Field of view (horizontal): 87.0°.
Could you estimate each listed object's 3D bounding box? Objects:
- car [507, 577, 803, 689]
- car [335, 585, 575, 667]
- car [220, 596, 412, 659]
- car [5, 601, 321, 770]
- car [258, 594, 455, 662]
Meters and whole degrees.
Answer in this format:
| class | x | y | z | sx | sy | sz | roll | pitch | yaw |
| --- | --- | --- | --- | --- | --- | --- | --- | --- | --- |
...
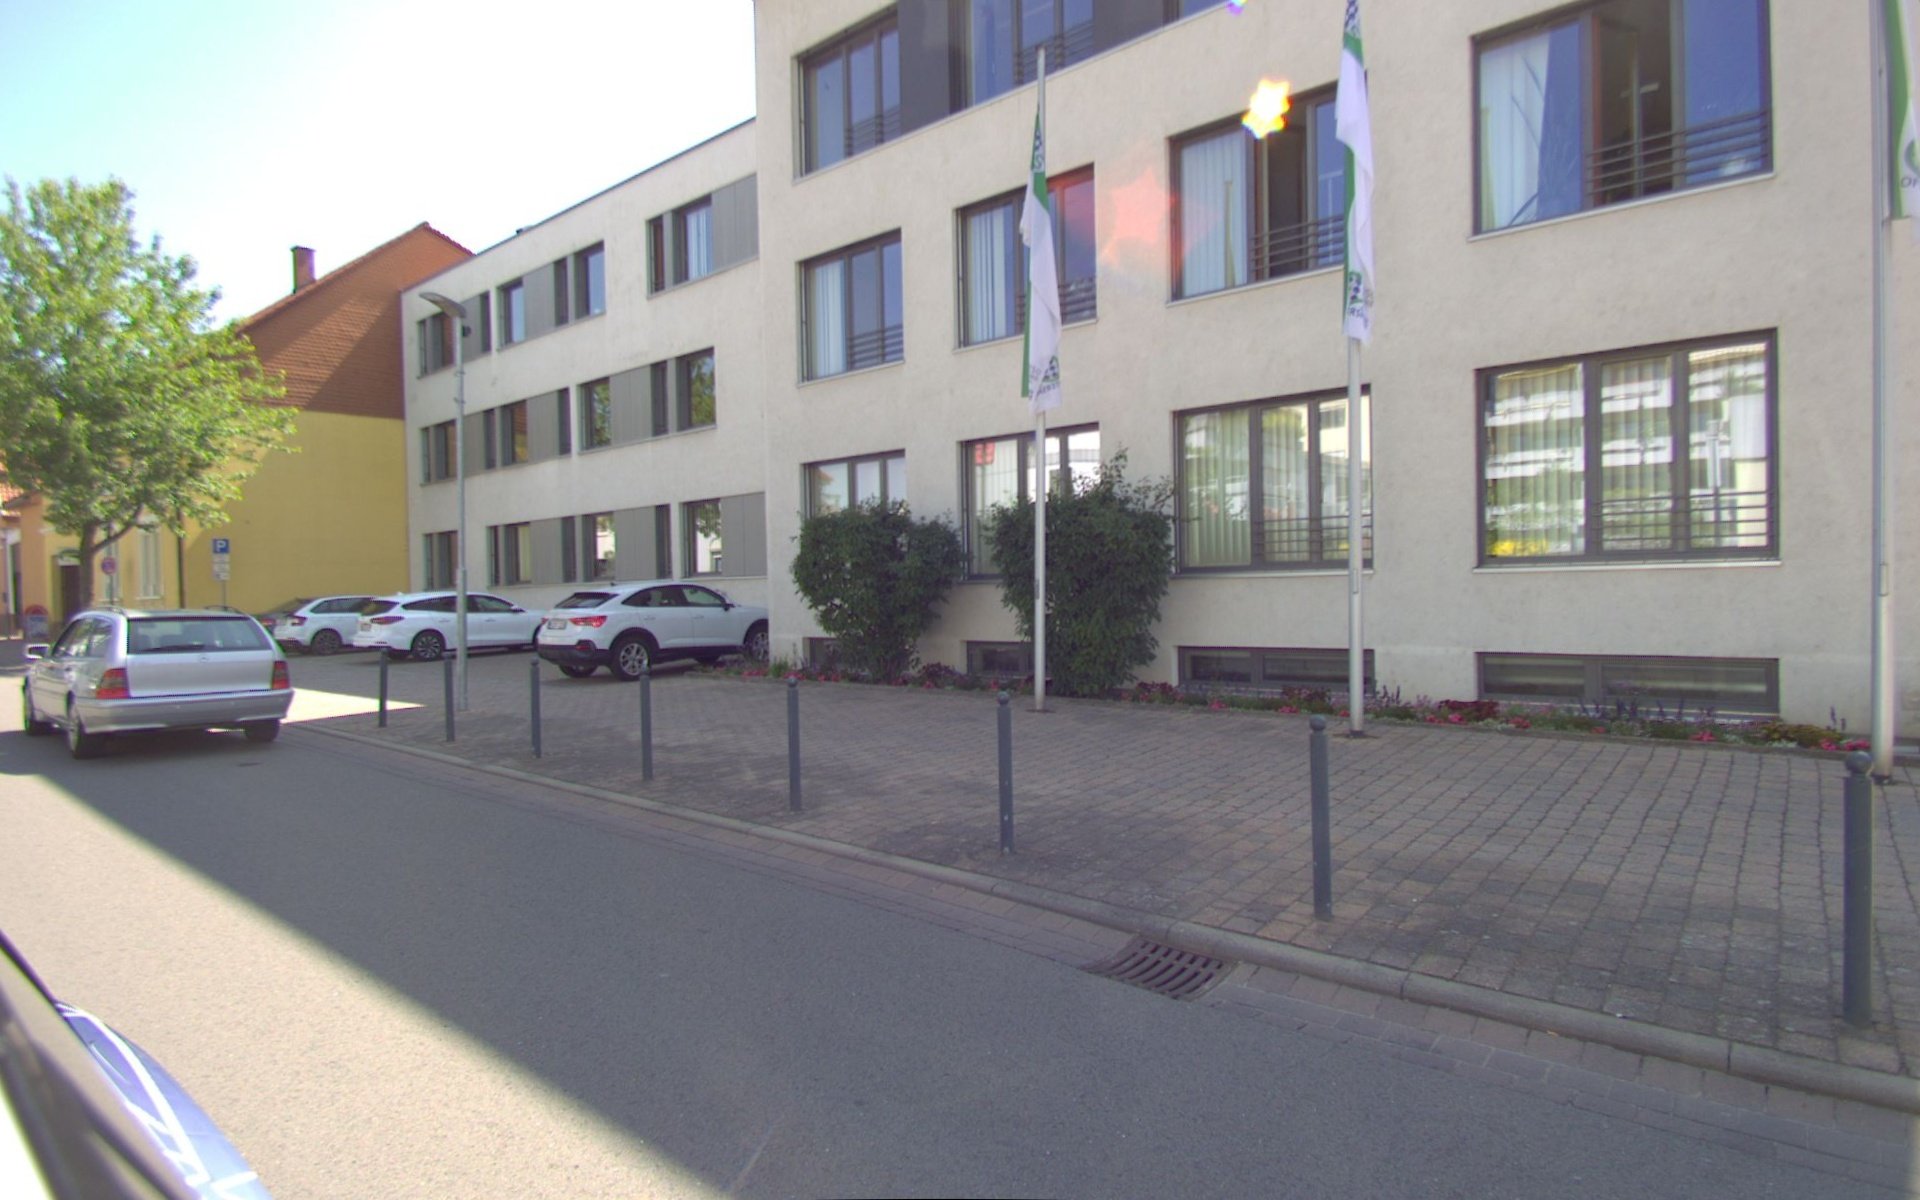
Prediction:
| class | x | y | z | sx | sy | sz | roll | pitch | yaw |
| --- | --- | --- | --- | --- | --- | --- | --- | --- | --- |
| car | -5.132 | 0.465 | 17.547 | 2.145 | 1.565 | 4.463 | -1 | 2 | 38 |
| car | -11.372 | 0.506 | 23.053 | 1.933 | 1.565 | 4.459 | 0 | 2 | 40 |
| car | -17.533 | 0.718 | 27.707 | 1.968 | 1.442 | 3.952 | -2 | 1 | 36 |
| car | -8.787 | 0.774 | 11.016 | 4.433 | 1.475 | 1.861 | -1 | -1 | 40 |
| car | -15.451 | 0.667 | 26.055 | 1.805 | 1.462 | 3.948 | -2 | 1 | 39 |
